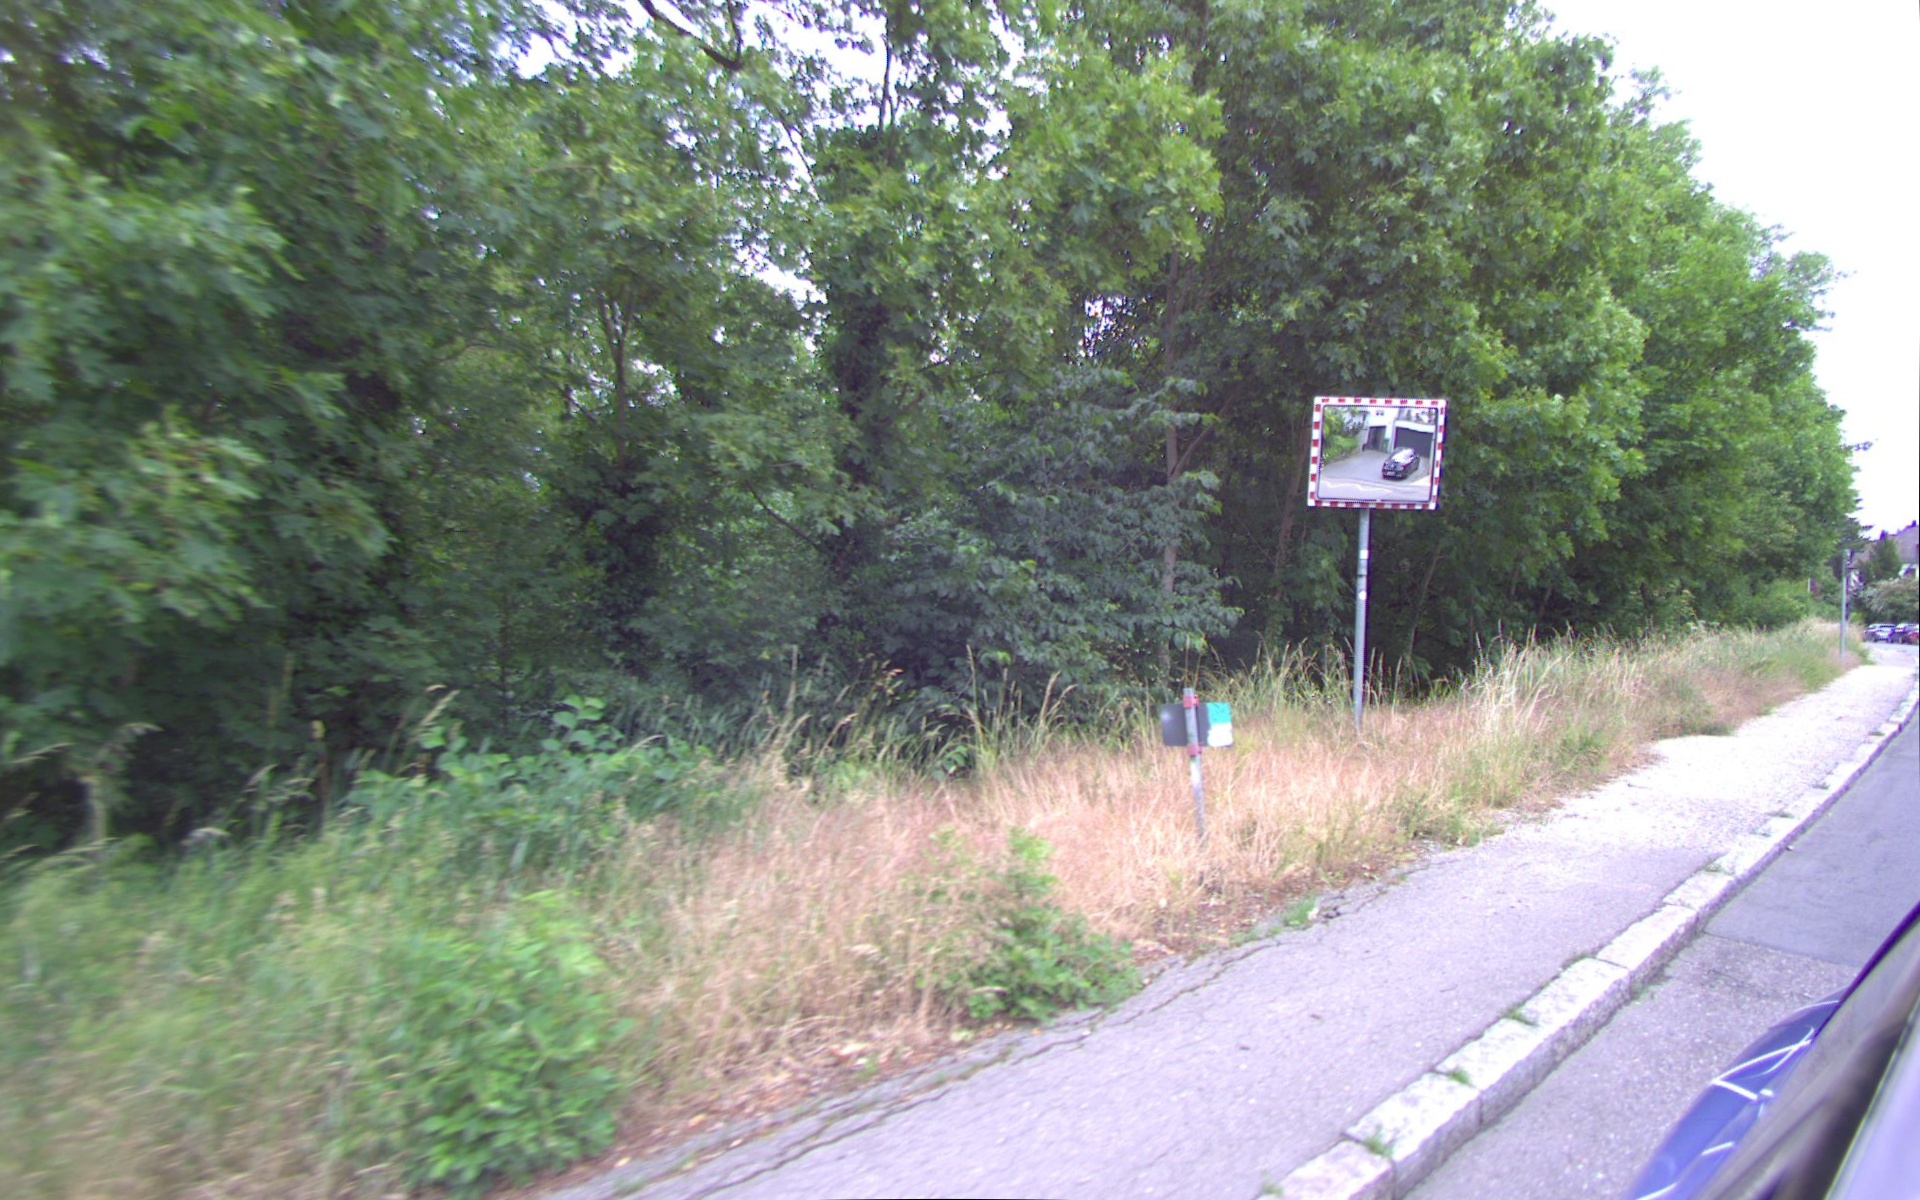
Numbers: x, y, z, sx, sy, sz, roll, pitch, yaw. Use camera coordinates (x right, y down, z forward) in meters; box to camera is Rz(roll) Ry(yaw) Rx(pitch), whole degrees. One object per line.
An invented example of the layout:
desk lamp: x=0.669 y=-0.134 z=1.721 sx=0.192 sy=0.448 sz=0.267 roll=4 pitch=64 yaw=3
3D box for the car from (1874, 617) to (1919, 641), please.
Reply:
car: x=71.841 y=2.162 z=77.564 sx=1.987 sy=1.710 sz=4.652 roll=0 pitch=0 yaw=34

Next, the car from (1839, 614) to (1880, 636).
car: x=77.117 y=2.113 z=86.828 sx=1.987 sy=1.710 sz=4.652 roll=0 pitch=0 yaw=34

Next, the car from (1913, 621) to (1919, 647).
car: x=66.097 y=2.325 z=68.133 sx=1.985 sy=1.710 sz=4.655 roll=0 pitch=0 yaw=33
